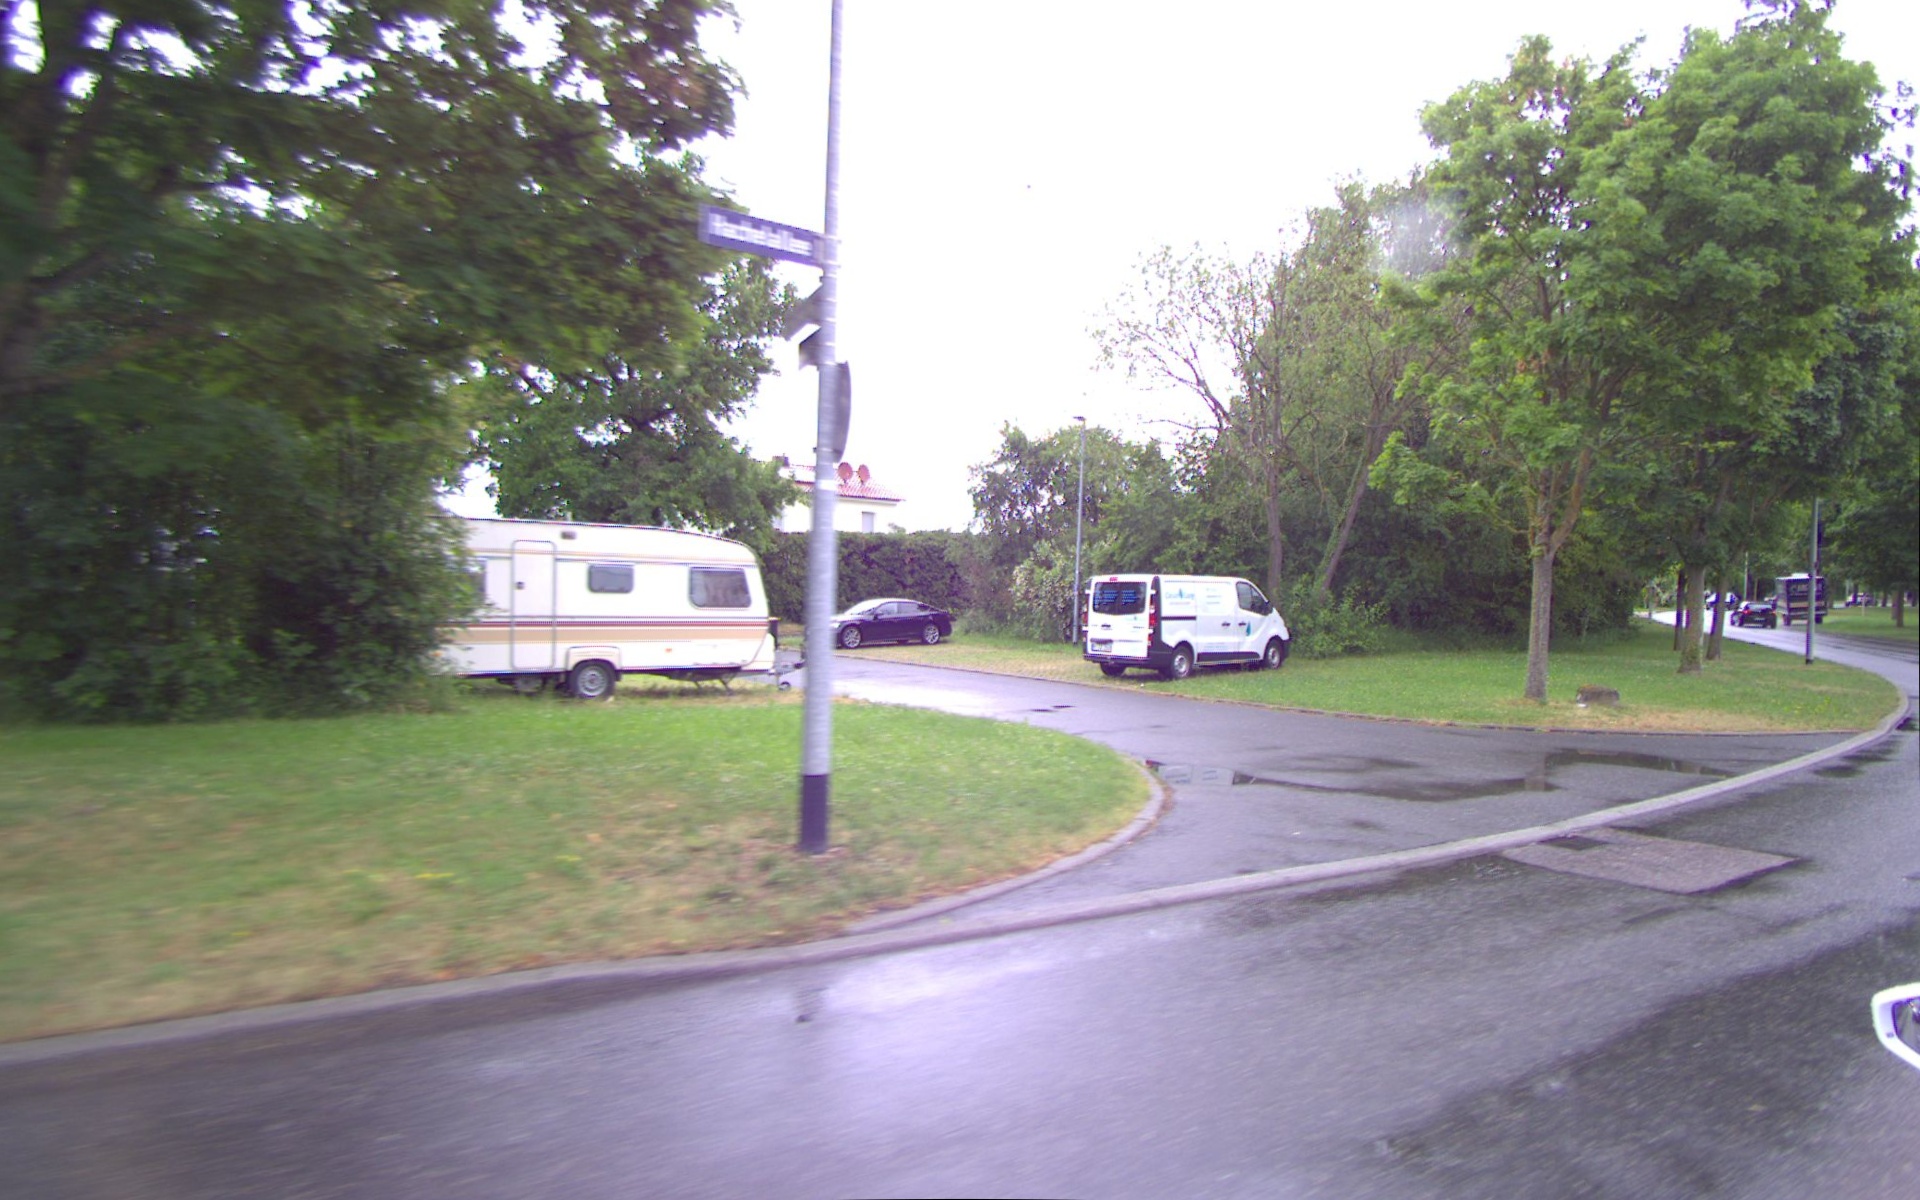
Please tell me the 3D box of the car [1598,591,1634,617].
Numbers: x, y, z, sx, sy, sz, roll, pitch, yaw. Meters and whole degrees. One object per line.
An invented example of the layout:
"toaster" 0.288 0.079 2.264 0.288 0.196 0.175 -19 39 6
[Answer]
"car" 44.823 0.268 68.681 1.724 1.662 4.583 4 2 30

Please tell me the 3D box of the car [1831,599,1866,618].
"car" 93.950 0.893 106.246 3.963 1.829 1.979 2 2 -37

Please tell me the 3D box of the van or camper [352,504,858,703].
"van or camper" -5.062 0.125 15.053 6.745 2.392 2.368 2 -1 -36

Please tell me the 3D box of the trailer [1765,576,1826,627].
"trailer" 51.210 0.068 61.659 1.966 2.845 5.594 -4 -2 32

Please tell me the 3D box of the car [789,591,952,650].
"car" -2.636 0.560 30.179 4.440 1.529 2.110 -2 1 -39

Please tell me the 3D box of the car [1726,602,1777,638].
"car" 46.740 1.162 59.377 1.874 2.040 3.936 0 -1 31

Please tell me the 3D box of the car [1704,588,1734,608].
"car" 68.564 -0.217 90.762 1.764 1.558 4.081 4 4 32

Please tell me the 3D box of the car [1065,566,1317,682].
"car" 4.816 0.382 20.472 5.427 2.013 2.110 -2 1 -39

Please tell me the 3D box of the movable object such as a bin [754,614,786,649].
"movable object such as a bin" -5.543 0.901 29.270 0.749 0.988 0.538 -1 1 -38
